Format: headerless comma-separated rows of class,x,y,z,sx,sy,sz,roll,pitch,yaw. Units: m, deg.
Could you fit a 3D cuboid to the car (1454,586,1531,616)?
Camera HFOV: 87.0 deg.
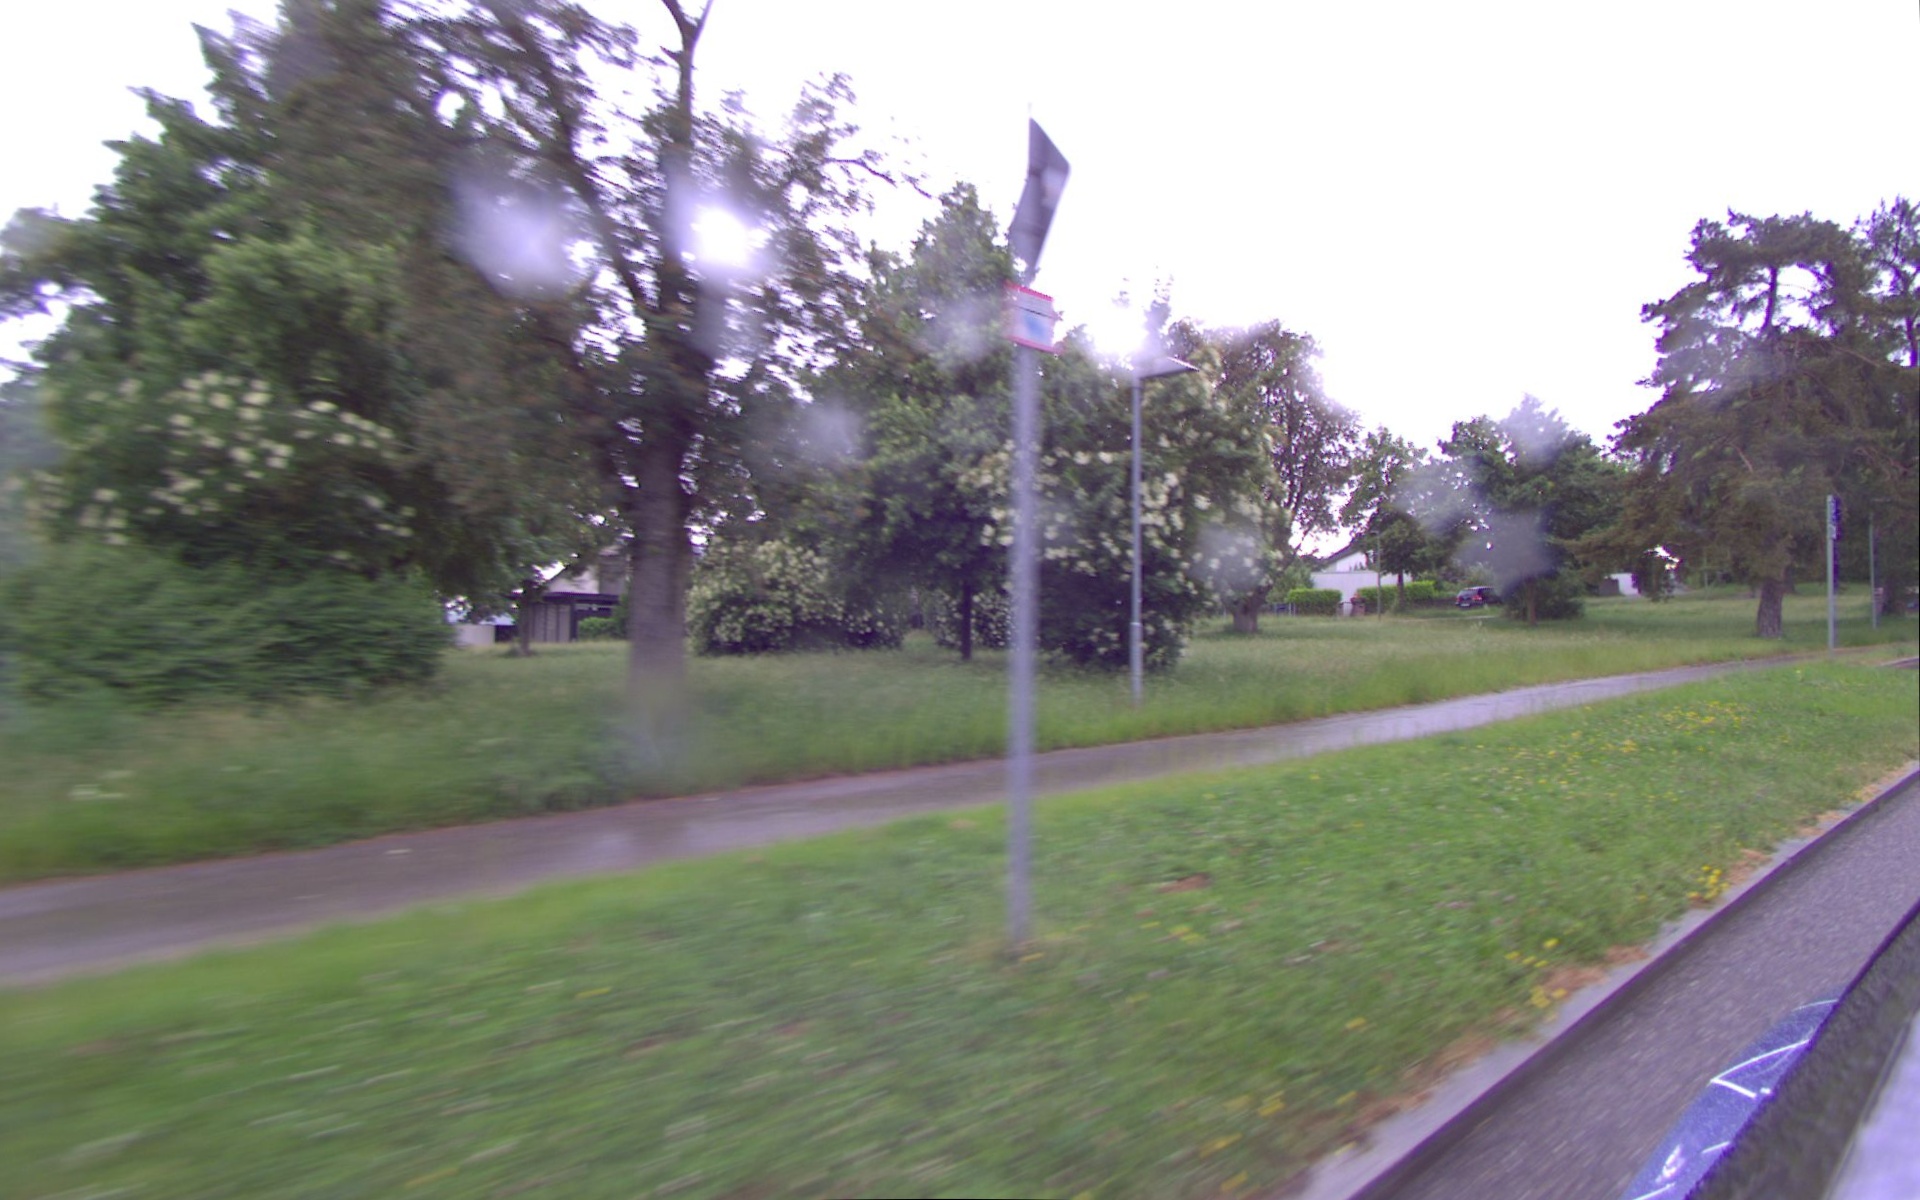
car,30.956,0.075,58.821,3.916,1.673,1.835,-1,-1,-21
